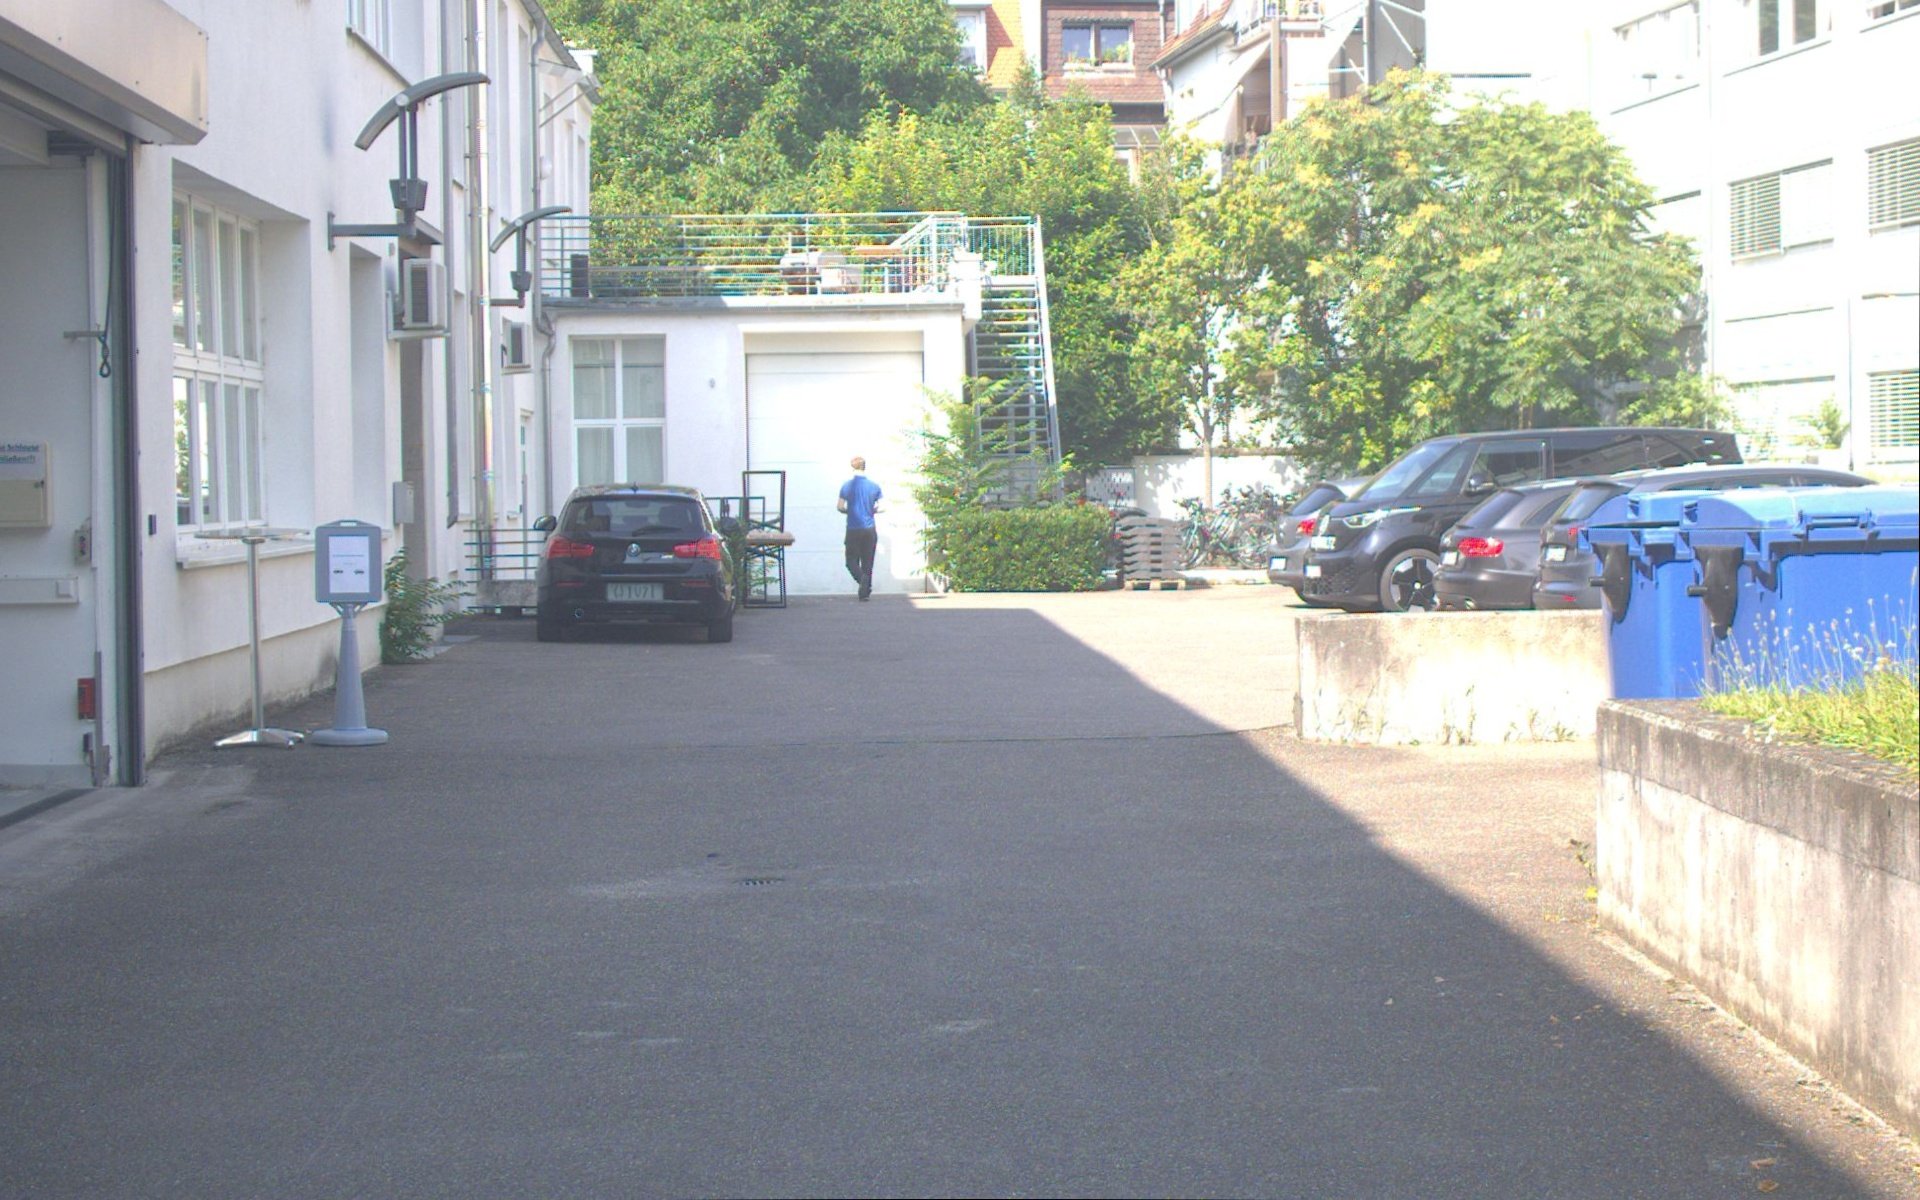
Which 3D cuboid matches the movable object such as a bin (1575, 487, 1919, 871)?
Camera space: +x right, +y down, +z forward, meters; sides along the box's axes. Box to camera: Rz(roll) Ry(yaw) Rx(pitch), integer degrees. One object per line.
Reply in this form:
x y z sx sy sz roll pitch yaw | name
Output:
3.110 0.265 12.931 1.300 1.336 1.195 -2 2 -2 | movable object such as a bin

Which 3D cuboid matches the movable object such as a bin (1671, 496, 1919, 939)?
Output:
3.130 0.337 11.180 1.309 1.336 1.100 -2 2 -5 | movable object such as a bin

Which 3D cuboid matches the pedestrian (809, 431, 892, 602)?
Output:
-1.308 -1.003 41.204 0.913 2.006 0.935 -2 2 -1 | pedestrian

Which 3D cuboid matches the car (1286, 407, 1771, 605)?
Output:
5.850 -0.975 35.567 4.499 1.788 1.884 -3 1 -11 | car

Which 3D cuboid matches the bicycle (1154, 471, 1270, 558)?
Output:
3.756 -1.277 51.206 1.623 1.210 0.424 -3 2 -2 | bicycle

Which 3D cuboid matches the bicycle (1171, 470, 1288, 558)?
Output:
3.965 -1.264 50.534 1.624 1.210 0.327 -3 2 12 | bicycle

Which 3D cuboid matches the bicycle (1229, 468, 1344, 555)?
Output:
4.895 -1.326 51.528 1.624 1.210 0.424 -3 2 11 | bicycle

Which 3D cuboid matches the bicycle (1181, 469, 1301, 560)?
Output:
4.016 -1.221 49.104 1.623 1.210 0.327 -3 2 0 | bicycle

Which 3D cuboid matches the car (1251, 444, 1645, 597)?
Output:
5.430 -0.890 38.448 3.931 1.477 1.775 -3 1 -11 | car

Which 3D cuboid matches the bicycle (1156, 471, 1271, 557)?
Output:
3.819 -1.299 51.842 1.623 1.210 0.424 -3 2 -7 | bicycle

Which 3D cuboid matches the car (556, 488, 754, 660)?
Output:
-2.800 -0.286 32.230 1.688 1.454 3.924 -2 2 -3 | car

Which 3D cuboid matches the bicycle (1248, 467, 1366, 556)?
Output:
5.062 -1.288 50.095 1.624 1.210 0.327 -3 2 13 | bicycle

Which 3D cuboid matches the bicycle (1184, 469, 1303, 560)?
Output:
4.072 -1.233 49.427 1.623 1.210 0.327 -3 2 0 | bicycle

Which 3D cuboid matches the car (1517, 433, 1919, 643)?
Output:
6.797 -0.545 28.574 3.861 1.583 1.880 -2 2 -7 | car

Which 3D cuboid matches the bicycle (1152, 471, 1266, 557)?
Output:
3.795 -1.317 52.444 1.623 1.210 0.424 -3 2 -6 | bicycle

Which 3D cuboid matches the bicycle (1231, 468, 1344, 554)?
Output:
5.004 -1.362 52.557 1.624 1.210 0.424 -3 2 11 | bicycle

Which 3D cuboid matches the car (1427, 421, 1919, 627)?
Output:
6.511 -0.701 31.385 4.116 1.686 1.771 -2 2 -4 | car

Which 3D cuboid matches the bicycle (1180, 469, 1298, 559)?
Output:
4.034 -1.241 49.720 1.623 1.210 0.327 -3 2 0 | bicycle

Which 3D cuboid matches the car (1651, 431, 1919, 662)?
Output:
7.283 -0.452 25.382 3.798 1.583 1.898 -2 2 -11 | car

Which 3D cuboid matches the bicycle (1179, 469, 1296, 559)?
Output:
4.055 -1.256 50.171 1.623 1.210 0.327 -3 2 9 | bicycle
